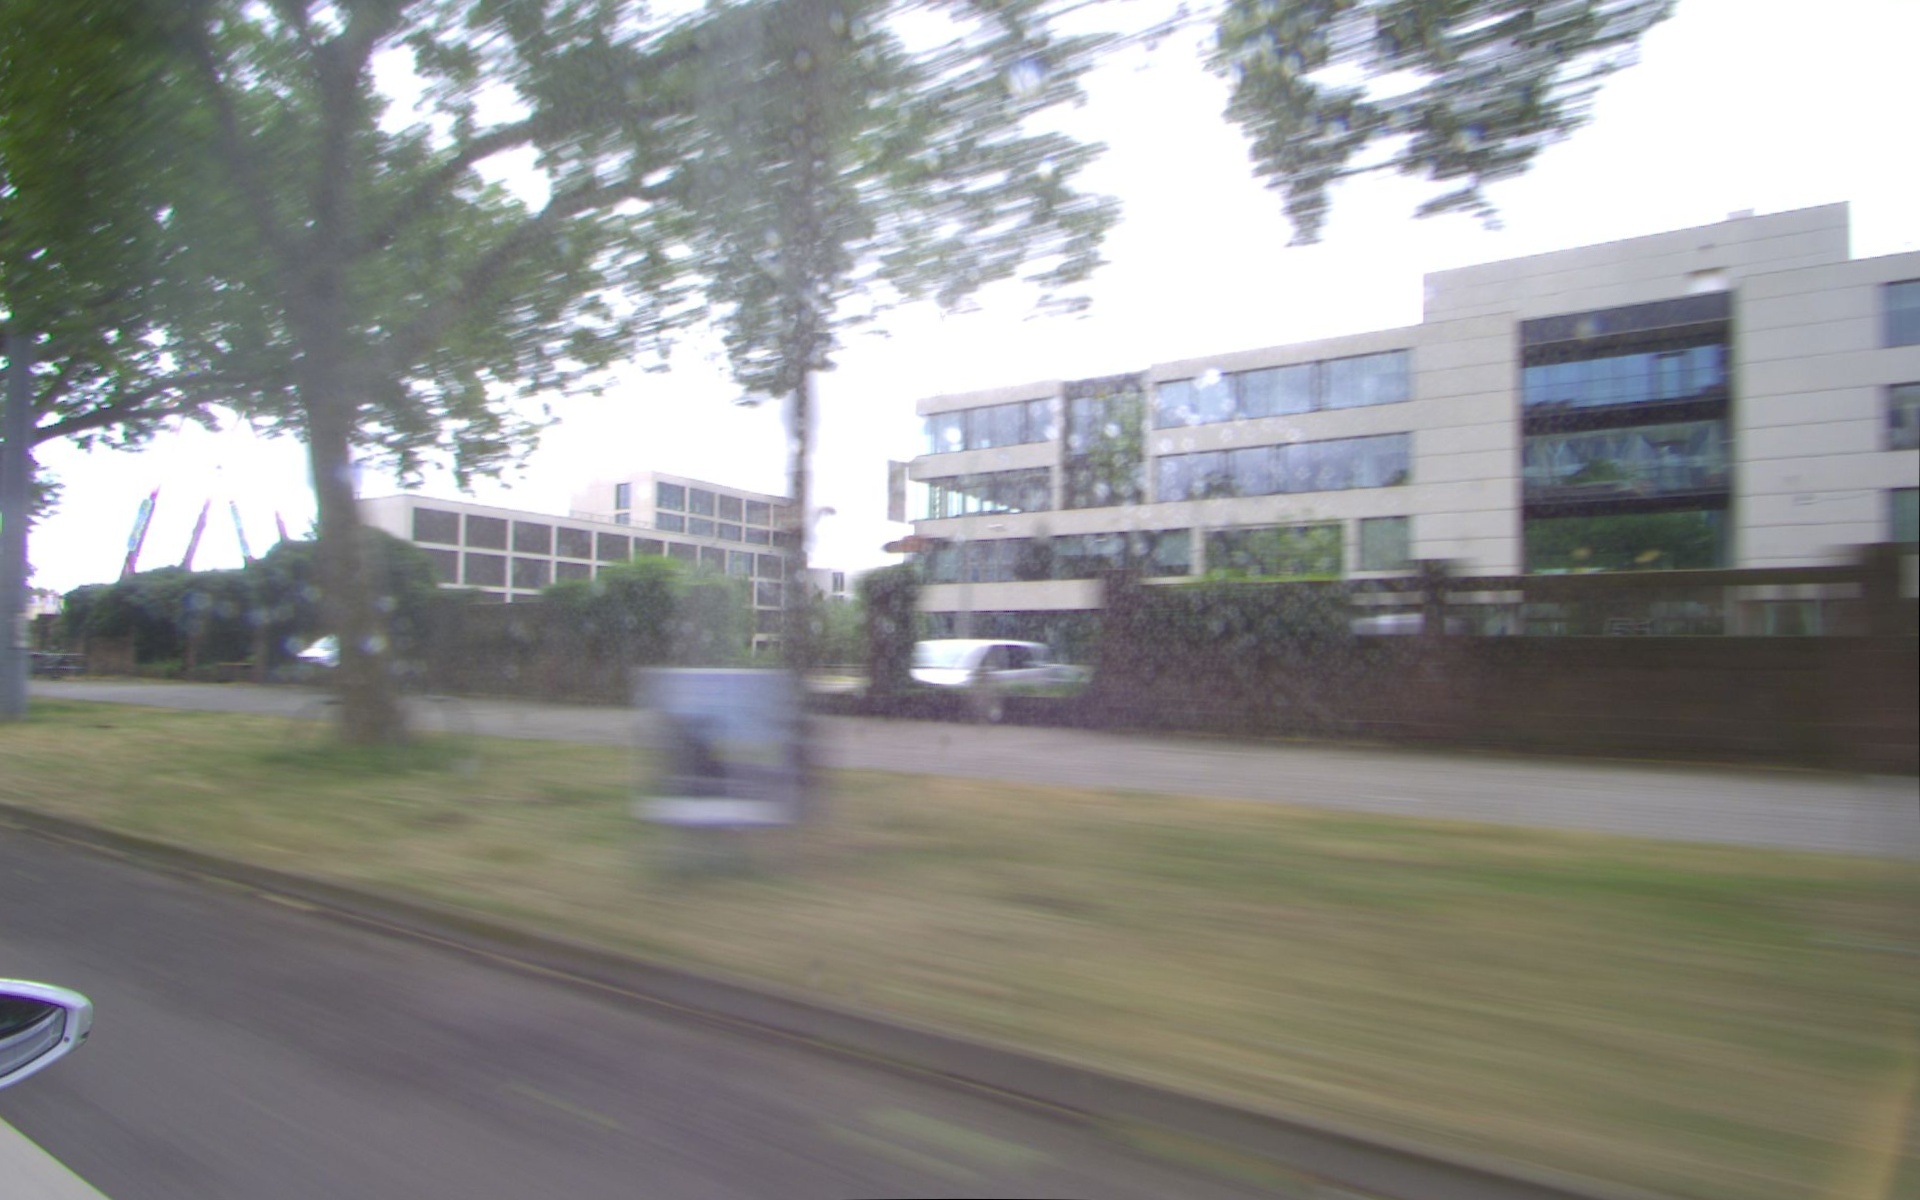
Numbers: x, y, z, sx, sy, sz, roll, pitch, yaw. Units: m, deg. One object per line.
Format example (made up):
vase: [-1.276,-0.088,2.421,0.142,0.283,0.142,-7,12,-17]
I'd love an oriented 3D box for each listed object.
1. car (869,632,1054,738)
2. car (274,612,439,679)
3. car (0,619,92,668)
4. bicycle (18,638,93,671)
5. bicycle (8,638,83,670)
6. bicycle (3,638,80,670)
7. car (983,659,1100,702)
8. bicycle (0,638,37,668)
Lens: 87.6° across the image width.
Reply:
car: [0.187,1.782,21.877,1.970,2.038,4.874,-1,-3,29]
car: [-22.340,1.769,37.342,1.641,2.291,5.095,-1,-4,29]
car: [-51.857,2.396,54.927,2.069,2.587,6.019,-1,-3,30]
bicycle: [-31.884,1.905,35.329,0.541,1.119,1.888,-1,-1,30]
bicycle: [-32.422,1.903,35.537,0.541,1.111,1.898,-1,-2,30]
bicycle: [-32.925,1.911,35.922,0.541,1.108,1.972,-1,-2,30]
car: [3.307,3.243,40.669,4.342,1.638,1.994,2,-3,-25]
bicycle: [-36.282,1.997,37.875,0.541,1.105,1.919,-1,-2,30]
